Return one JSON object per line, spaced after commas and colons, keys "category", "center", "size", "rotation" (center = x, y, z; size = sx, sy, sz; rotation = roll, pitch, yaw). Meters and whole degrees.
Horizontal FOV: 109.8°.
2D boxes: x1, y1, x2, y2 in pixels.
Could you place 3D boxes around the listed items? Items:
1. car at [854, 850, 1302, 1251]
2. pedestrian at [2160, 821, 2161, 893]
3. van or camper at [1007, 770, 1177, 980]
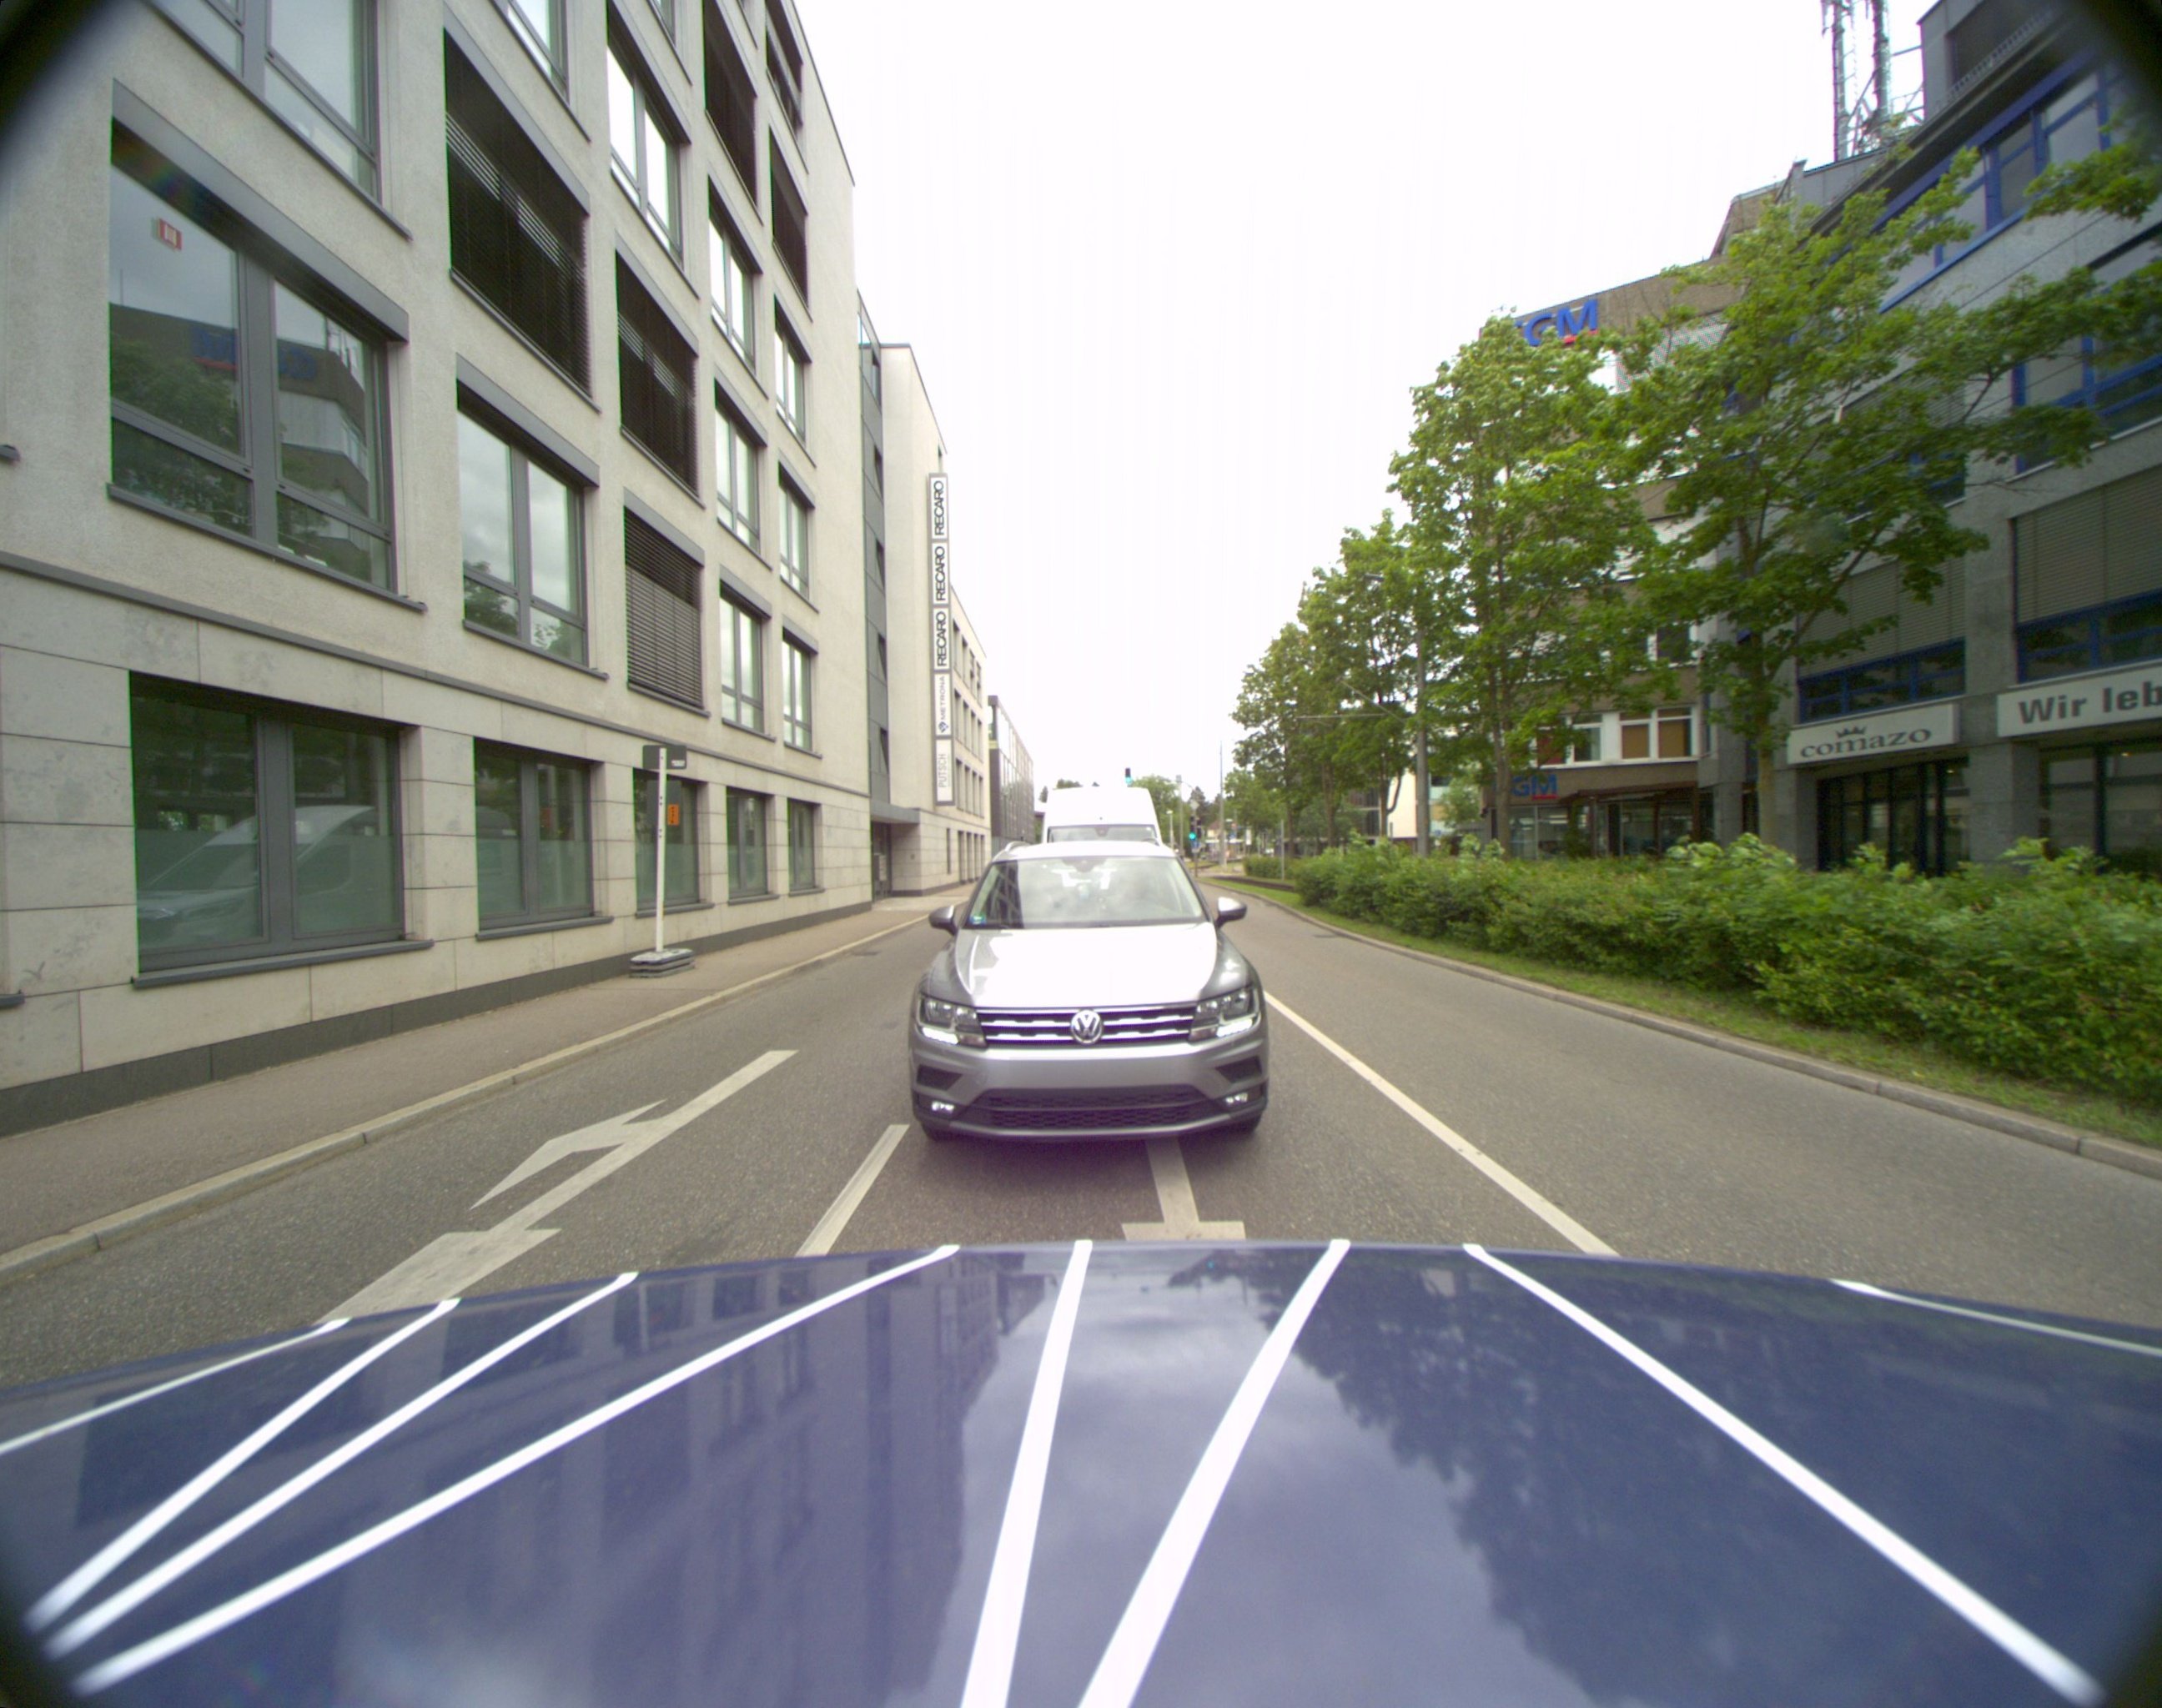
{"category": "car", "center": [0.018, 0.835, 5.418], "size": [1.833, 1.636, 4.326], "rotation": [-3, 0, 1]}
{"category": "pedestrian", "center": [16.253, 0.239, 10.846], "size": [0.699, 1.474, 0.679], "rotation": [-3, 1, 1]}
{"category": "van or camper", "center": [0.203, 0.265, 13.191], "size": [2.110, 2.674, 6.299], "rotation": [-3, 0, 1]}
